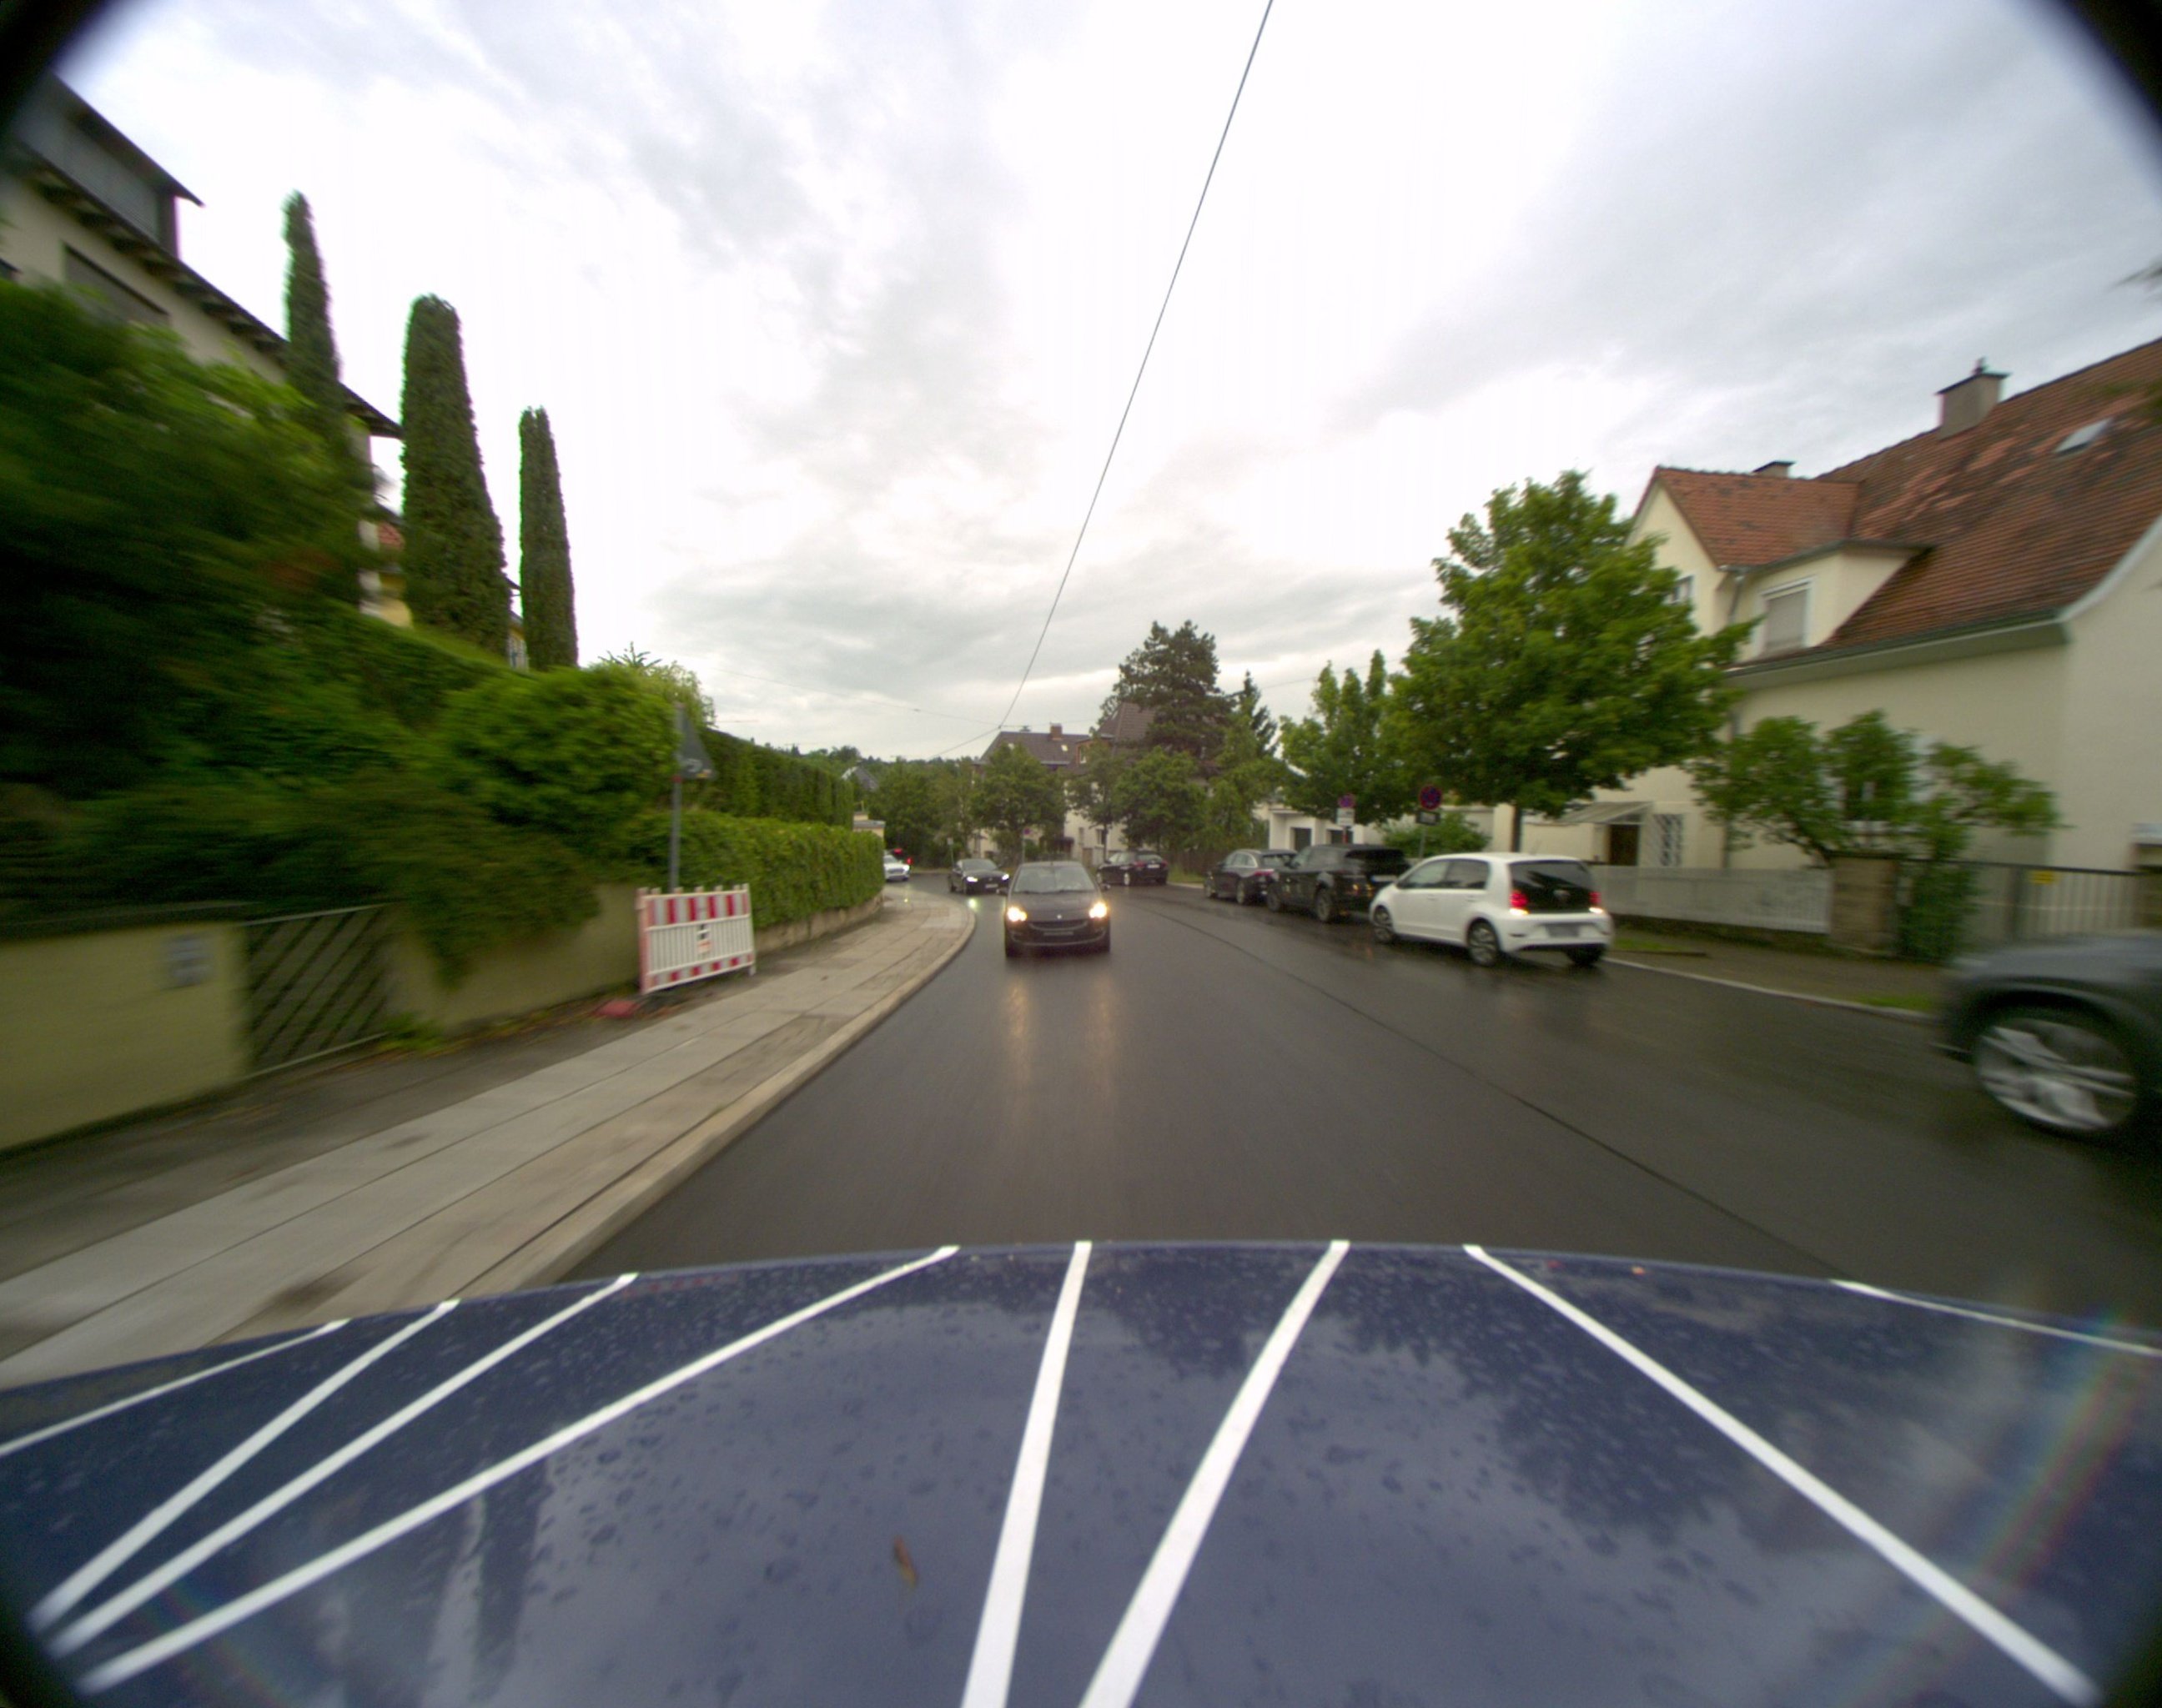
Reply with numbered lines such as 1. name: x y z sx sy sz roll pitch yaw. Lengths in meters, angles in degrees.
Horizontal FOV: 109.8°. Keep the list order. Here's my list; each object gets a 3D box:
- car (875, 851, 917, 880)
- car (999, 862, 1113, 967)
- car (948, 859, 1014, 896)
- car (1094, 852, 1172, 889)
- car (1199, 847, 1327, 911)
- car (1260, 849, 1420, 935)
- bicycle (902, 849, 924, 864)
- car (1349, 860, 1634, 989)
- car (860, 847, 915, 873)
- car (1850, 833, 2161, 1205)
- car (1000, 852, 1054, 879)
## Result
1. car: -11.656 0.671 47.699 2.003 1.699 4.565 -1 1 -20
2. car: -0.318 0.927 13.631 1.674 1.457 4.715 -1 1 1
3. car: -4.362 0.961 32.577 1.846 1.395 4.063 -1 1 -22
4. car: 2.150 0.644 32.588 1.677 1.457 3.886 -1 1 -25
5. car: 4.973 0.607 21.586 1.872 1.536 4.900 -2 1 -8
6. car: 5.440 0.711 16.575 1.738 1.536 4.207 -2 1 -5
7. bicycle: -15.110 0.261 68.266 2.267 1.265 0.493 -3 3 36
8. car: 5.656 0.860 11.131 1.738 1.458 3.998 -2 0 -5
9. car: -14.549 0.445 57.028 1.907 1.878 5.138 -1 1 -40
10. car: 5.738 0.756 2.531 1.805 1.659 4.425 1 1 -1
11. car: -4.515 0.978 63.437 4.005 1.575 1.852 10 -2 -17
